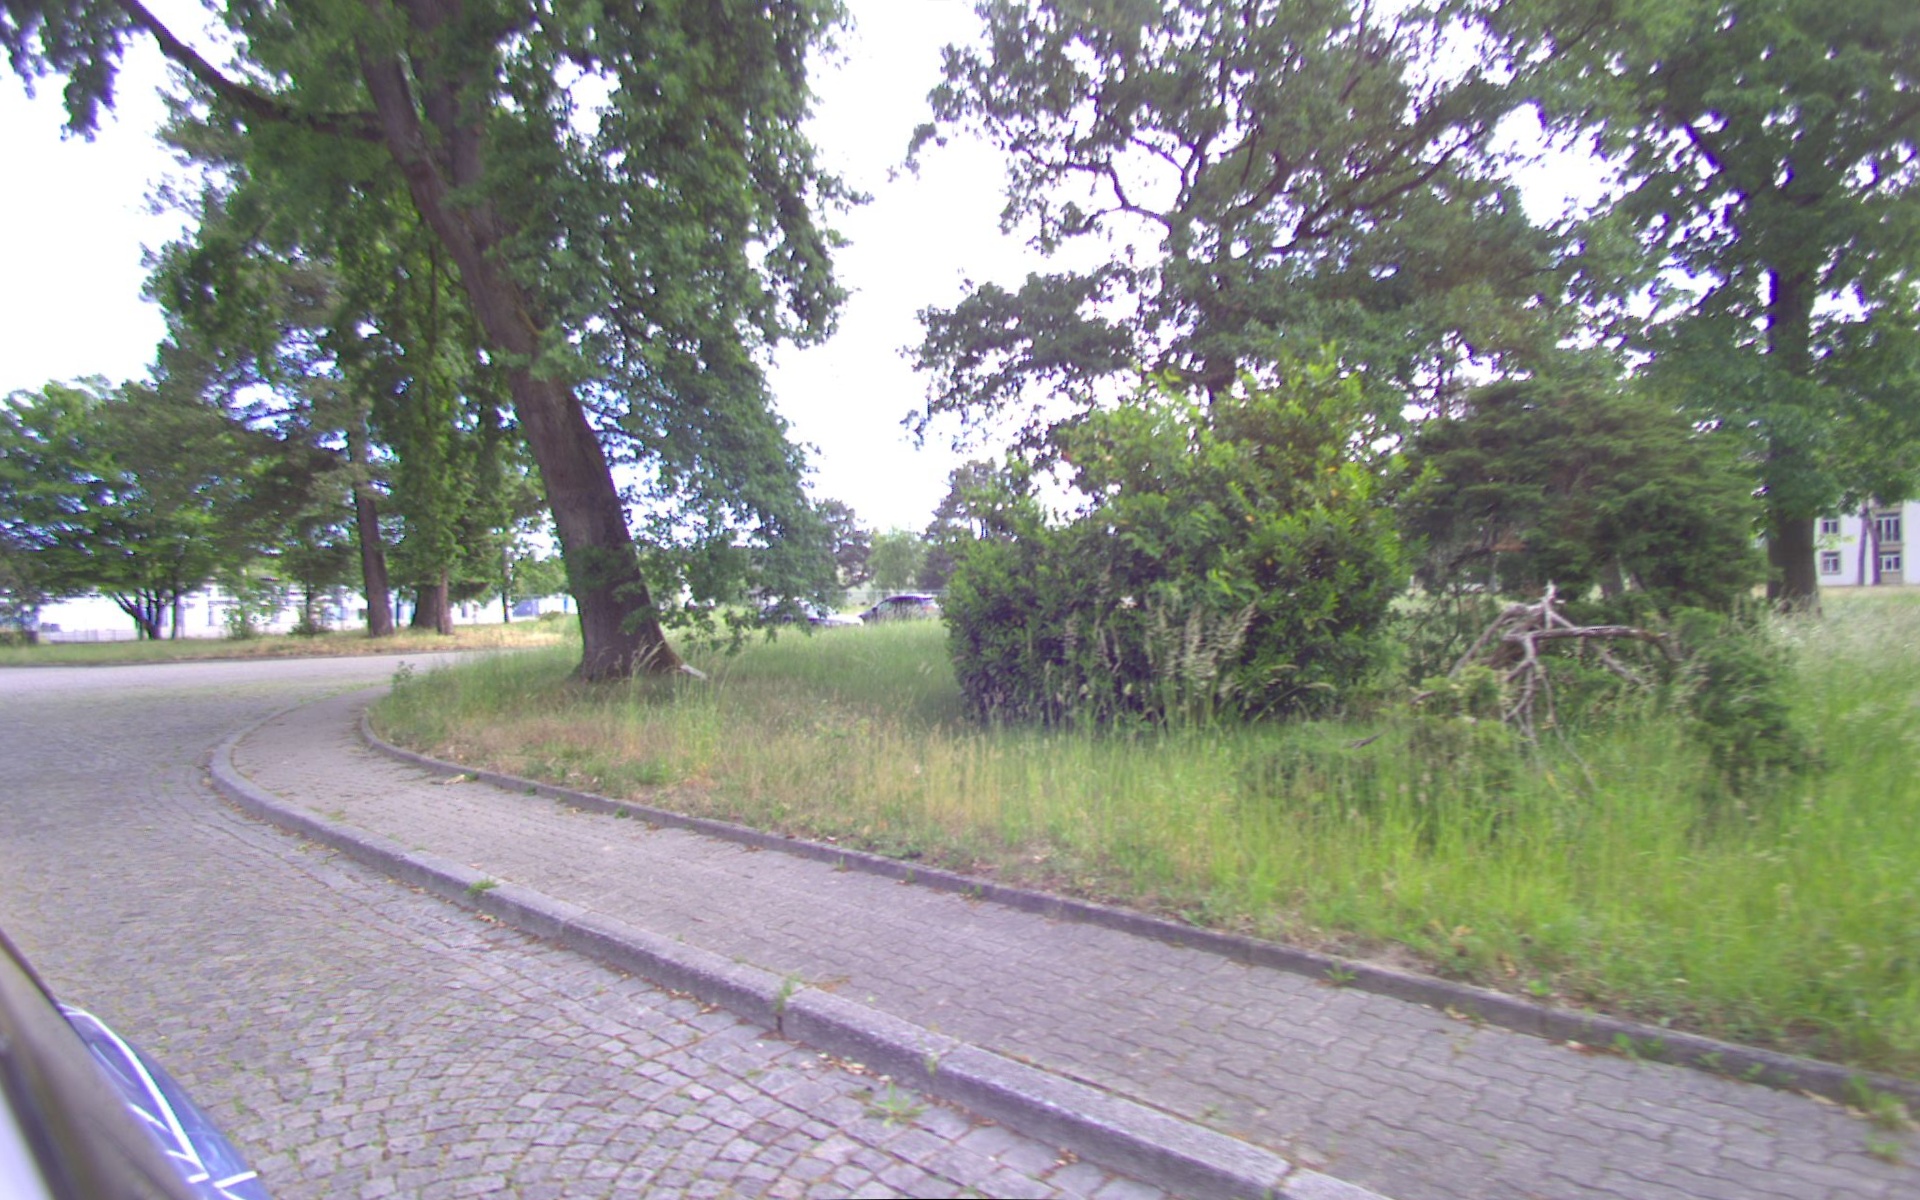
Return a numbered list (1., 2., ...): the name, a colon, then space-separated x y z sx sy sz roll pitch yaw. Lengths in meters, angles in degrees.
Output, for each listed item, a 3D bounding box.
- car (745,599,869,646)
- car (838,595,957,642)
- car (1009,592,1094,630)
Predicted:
1. car: -5.193 0.775 34.012 4.355 1.415 1.739 -3 -1 43
2. car: -2.363 0.705 37.741 4.361 1.574 1.741 -3 -1 39
3. car: 4.084 0.511 45.530 3.496 1.493 1.581 -4 -1 39
